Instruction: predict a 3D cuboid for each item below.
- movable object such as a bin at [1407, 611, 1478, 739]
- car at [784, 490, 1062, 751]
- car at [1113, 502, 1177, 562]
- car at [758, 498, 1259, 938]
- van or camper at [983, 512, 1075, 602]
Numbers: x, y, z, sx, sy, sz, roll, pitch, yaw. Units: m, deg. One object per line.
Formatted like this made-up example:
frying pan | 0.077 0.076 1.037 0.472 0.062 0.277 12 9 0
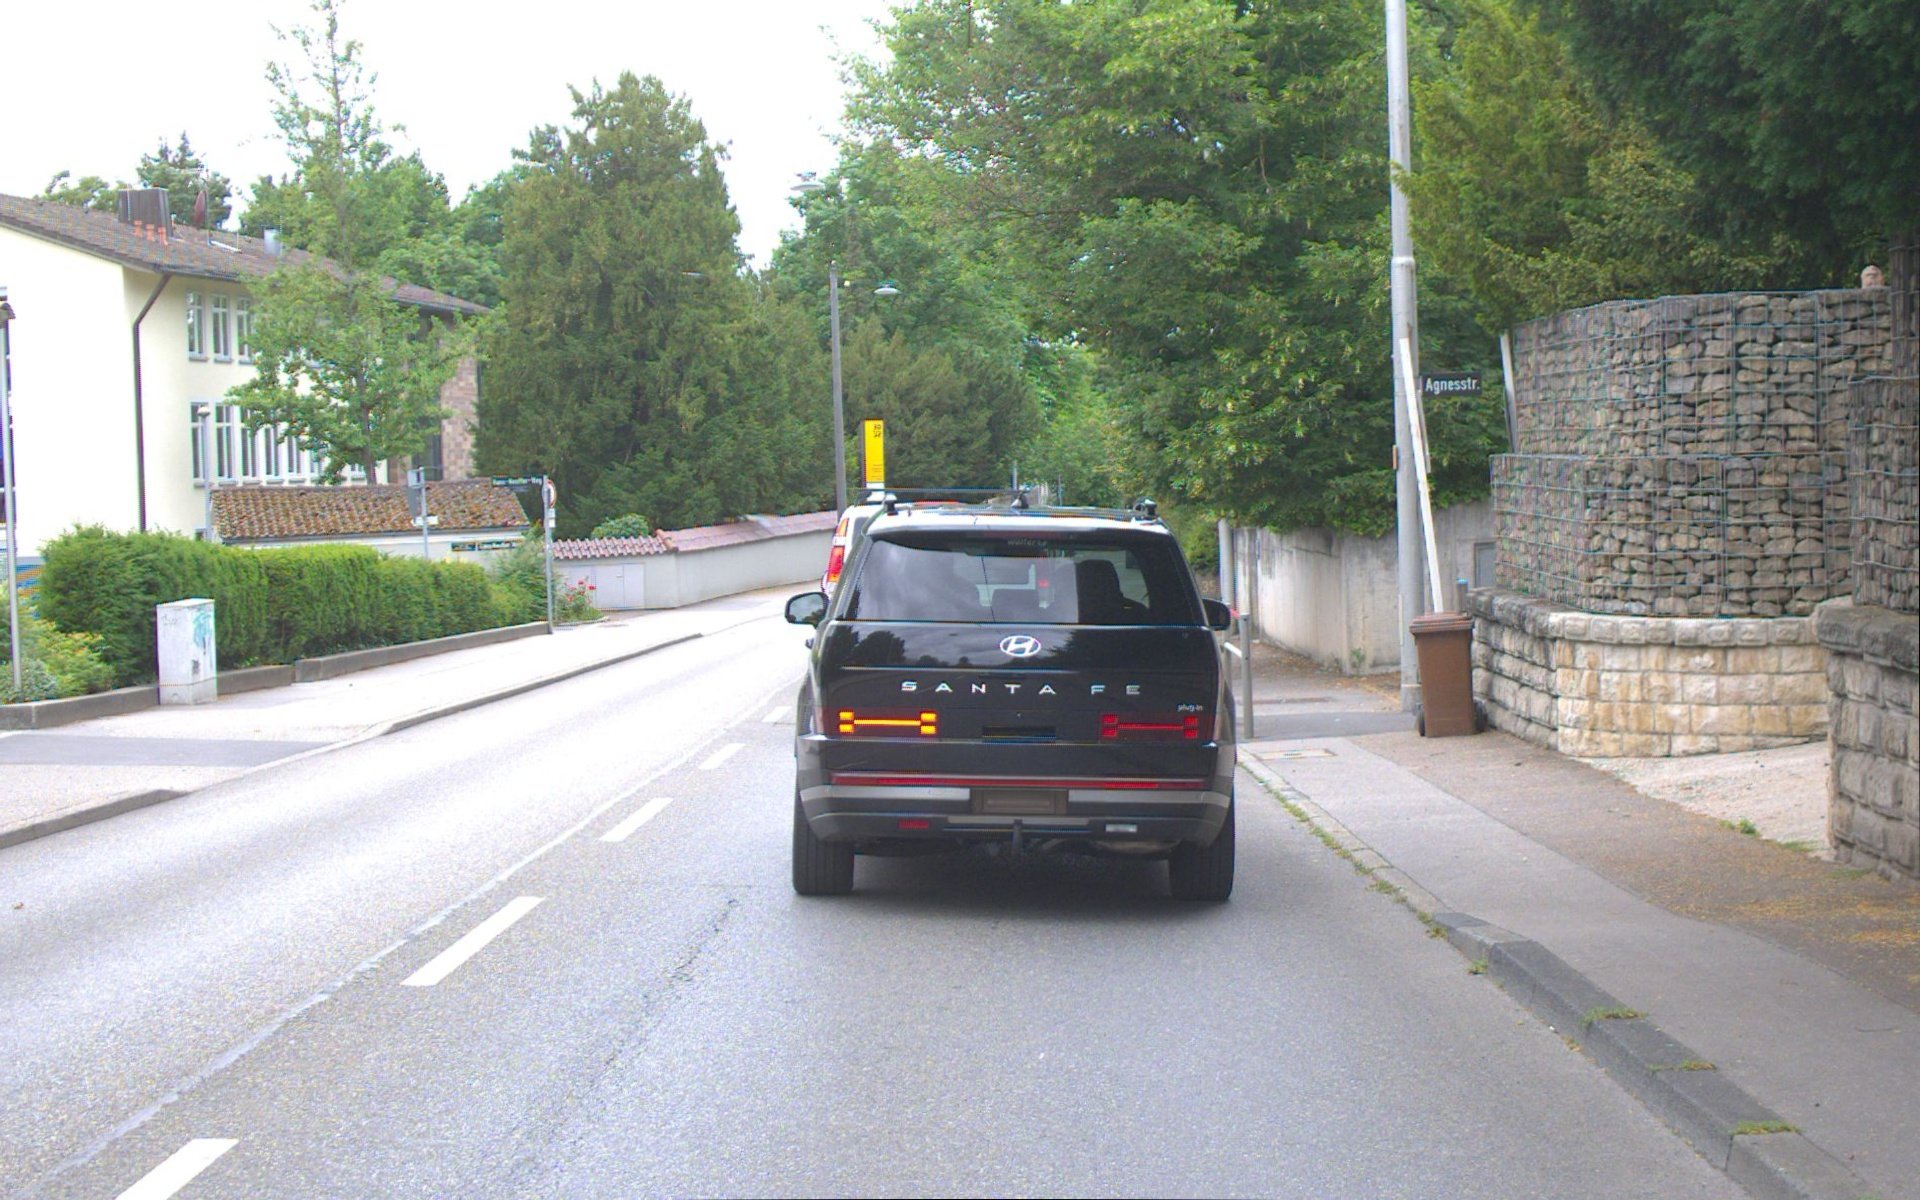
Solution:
movable object such as a bin | 3.572 0.553 25.445 0.445 0.907 0.394 -4 0 10
car | -0.384 0.103 28.180 1.957 1.949 4.224 1 1 -5
car | 6.326 -2.326 117.168 1.957 1.949 4.222 1 1 6
car | 0.221 0.423 15.810 1.957 1.707 4.223 1 1 1
van or camper | 1.693 -1.055 83.312 1.676 2.000 3.937 -1 3 9
